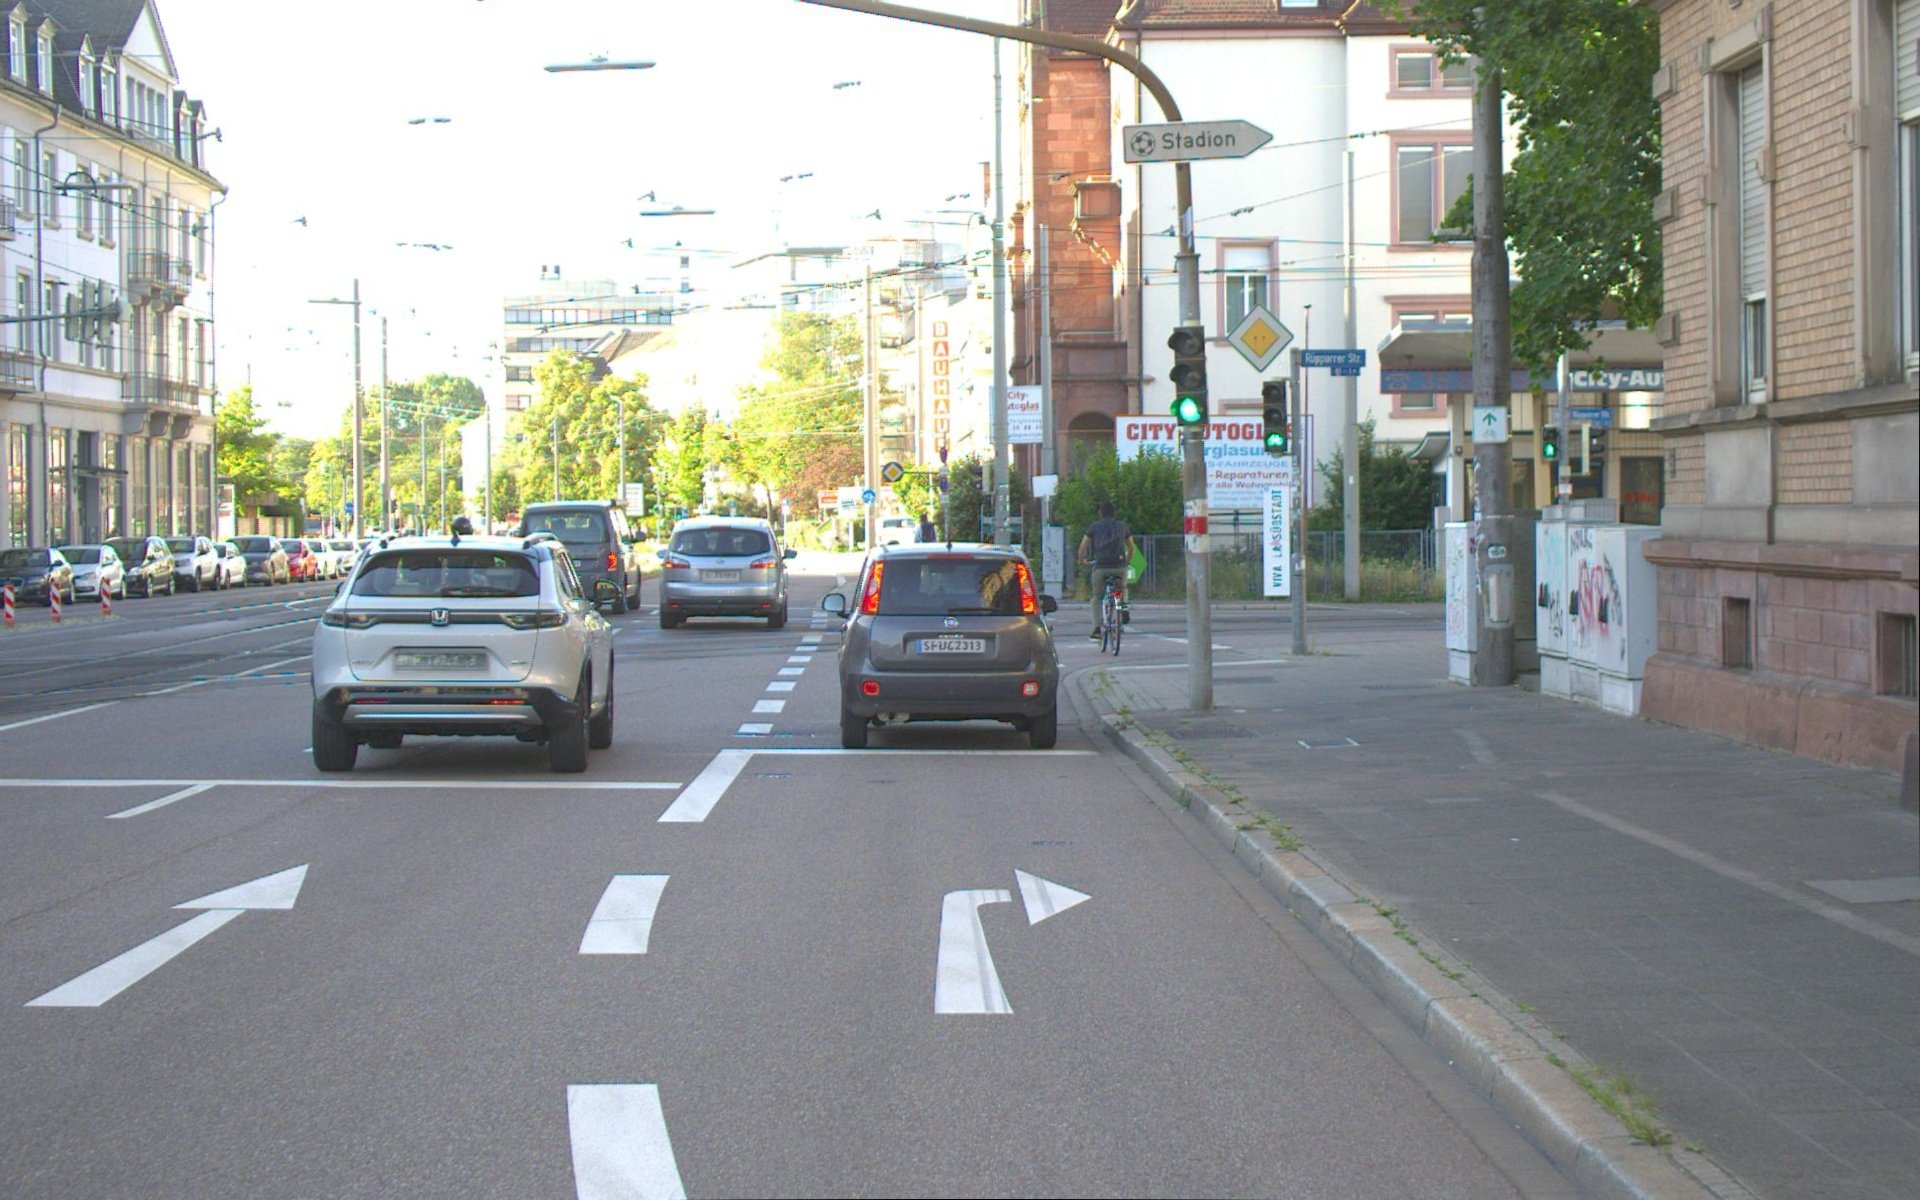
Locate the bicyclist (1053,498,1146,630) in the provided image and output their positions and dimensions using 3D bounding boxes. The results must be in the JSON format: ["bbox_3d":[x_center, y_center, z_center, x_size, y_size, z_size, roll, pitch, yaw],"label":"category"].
[{"bbox_3d":[1.617,-0.424,40.018,0.833,1.520,0.994,0,1,-14],"label":"bicyclist"}]

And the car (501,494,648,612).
[{"bbox_3d":[-6.828,-0.866,61.356,2.172,2.002,4.809,-1,1,-1],"label":"car"}]

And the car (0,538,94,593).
[{"bbox_3d":[-21.938,-0.841,81.791,1.719,1.228,4.000,-1,1,-1],"label":"car"}]

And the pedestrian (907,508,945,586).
[{"bbox_3d":[-0.791,-1.247,80.502,0.875,1.818,1.184,0,1,0],"label":"pedestrian"}]

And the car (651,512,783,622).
[{"bbox_3d":[-3.619,-0.520,51.772,1.814,1.576,4.000,0,1,-2],"label":"car"}]

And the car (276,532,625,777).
[{"bbox_3d":[-3.421,0.306,23.783,1.947,1.523,4.090,0,2,-2],"label":"car"}]

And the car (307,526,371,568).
[{"bbox_3d":[-23.147,-2.001,128.267,1.719,1.546,4.000,0,1,-1],"label":"car"}]

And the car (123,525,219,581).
[{"bbox_3d":[-22.701,-1.367,99.088,1.835,1.546,4.274,-1,1,-1],"label":"car"}]

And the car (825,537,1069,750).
[{"bbox_3d":[-0.030,0.275,26.784,1.731,1.495,4.000,0,2,2],"label":"car"}]

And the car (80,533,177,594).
[{"bbox_3d":[-22.301,-0.999,92.324,1.719,1.546,3.856,-1,1,-1],"label":"car"}]

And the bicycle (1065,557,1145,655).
[{"bbox_3d":[1.674,0.054,39.824,0.771,1.082,1.871,0,1,-2],"label":"bicycle"}]

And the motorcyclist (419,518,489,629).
[{"bbox_3d":[-6.565,-0.352,44.633,0.777,1.418,0.891,0,1,-2],"label":"motorcyclist"}]

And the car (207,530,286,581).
[{"bbox_3d":[-22.663,-1.422,109.306,1.719,1.546,4.000,-1,1,-1],"label":"car"}]

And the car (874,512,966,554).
[{"bbox_3d":[-1.957,-3.288,168.199,4.257,2.007,2.001,0,1,-10],"label":"car"}]

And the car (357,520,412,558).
[{"bbox_3d":[-24.268,-2.582,145.120,1.719,1.546,4.000,-1,1,-1],"label":"car"}]

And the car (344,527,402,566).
[{"bbox_3d":[-23.745,-2.172,139.120,1.719,1.546,4.000,-1,1,-1],"label":"car"}]

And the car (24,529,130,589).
[{"bbox_3d":[-22.411,-1.065,87.367,1.719,1.447,4.000,-1,1,-1],"label":"car"}]
